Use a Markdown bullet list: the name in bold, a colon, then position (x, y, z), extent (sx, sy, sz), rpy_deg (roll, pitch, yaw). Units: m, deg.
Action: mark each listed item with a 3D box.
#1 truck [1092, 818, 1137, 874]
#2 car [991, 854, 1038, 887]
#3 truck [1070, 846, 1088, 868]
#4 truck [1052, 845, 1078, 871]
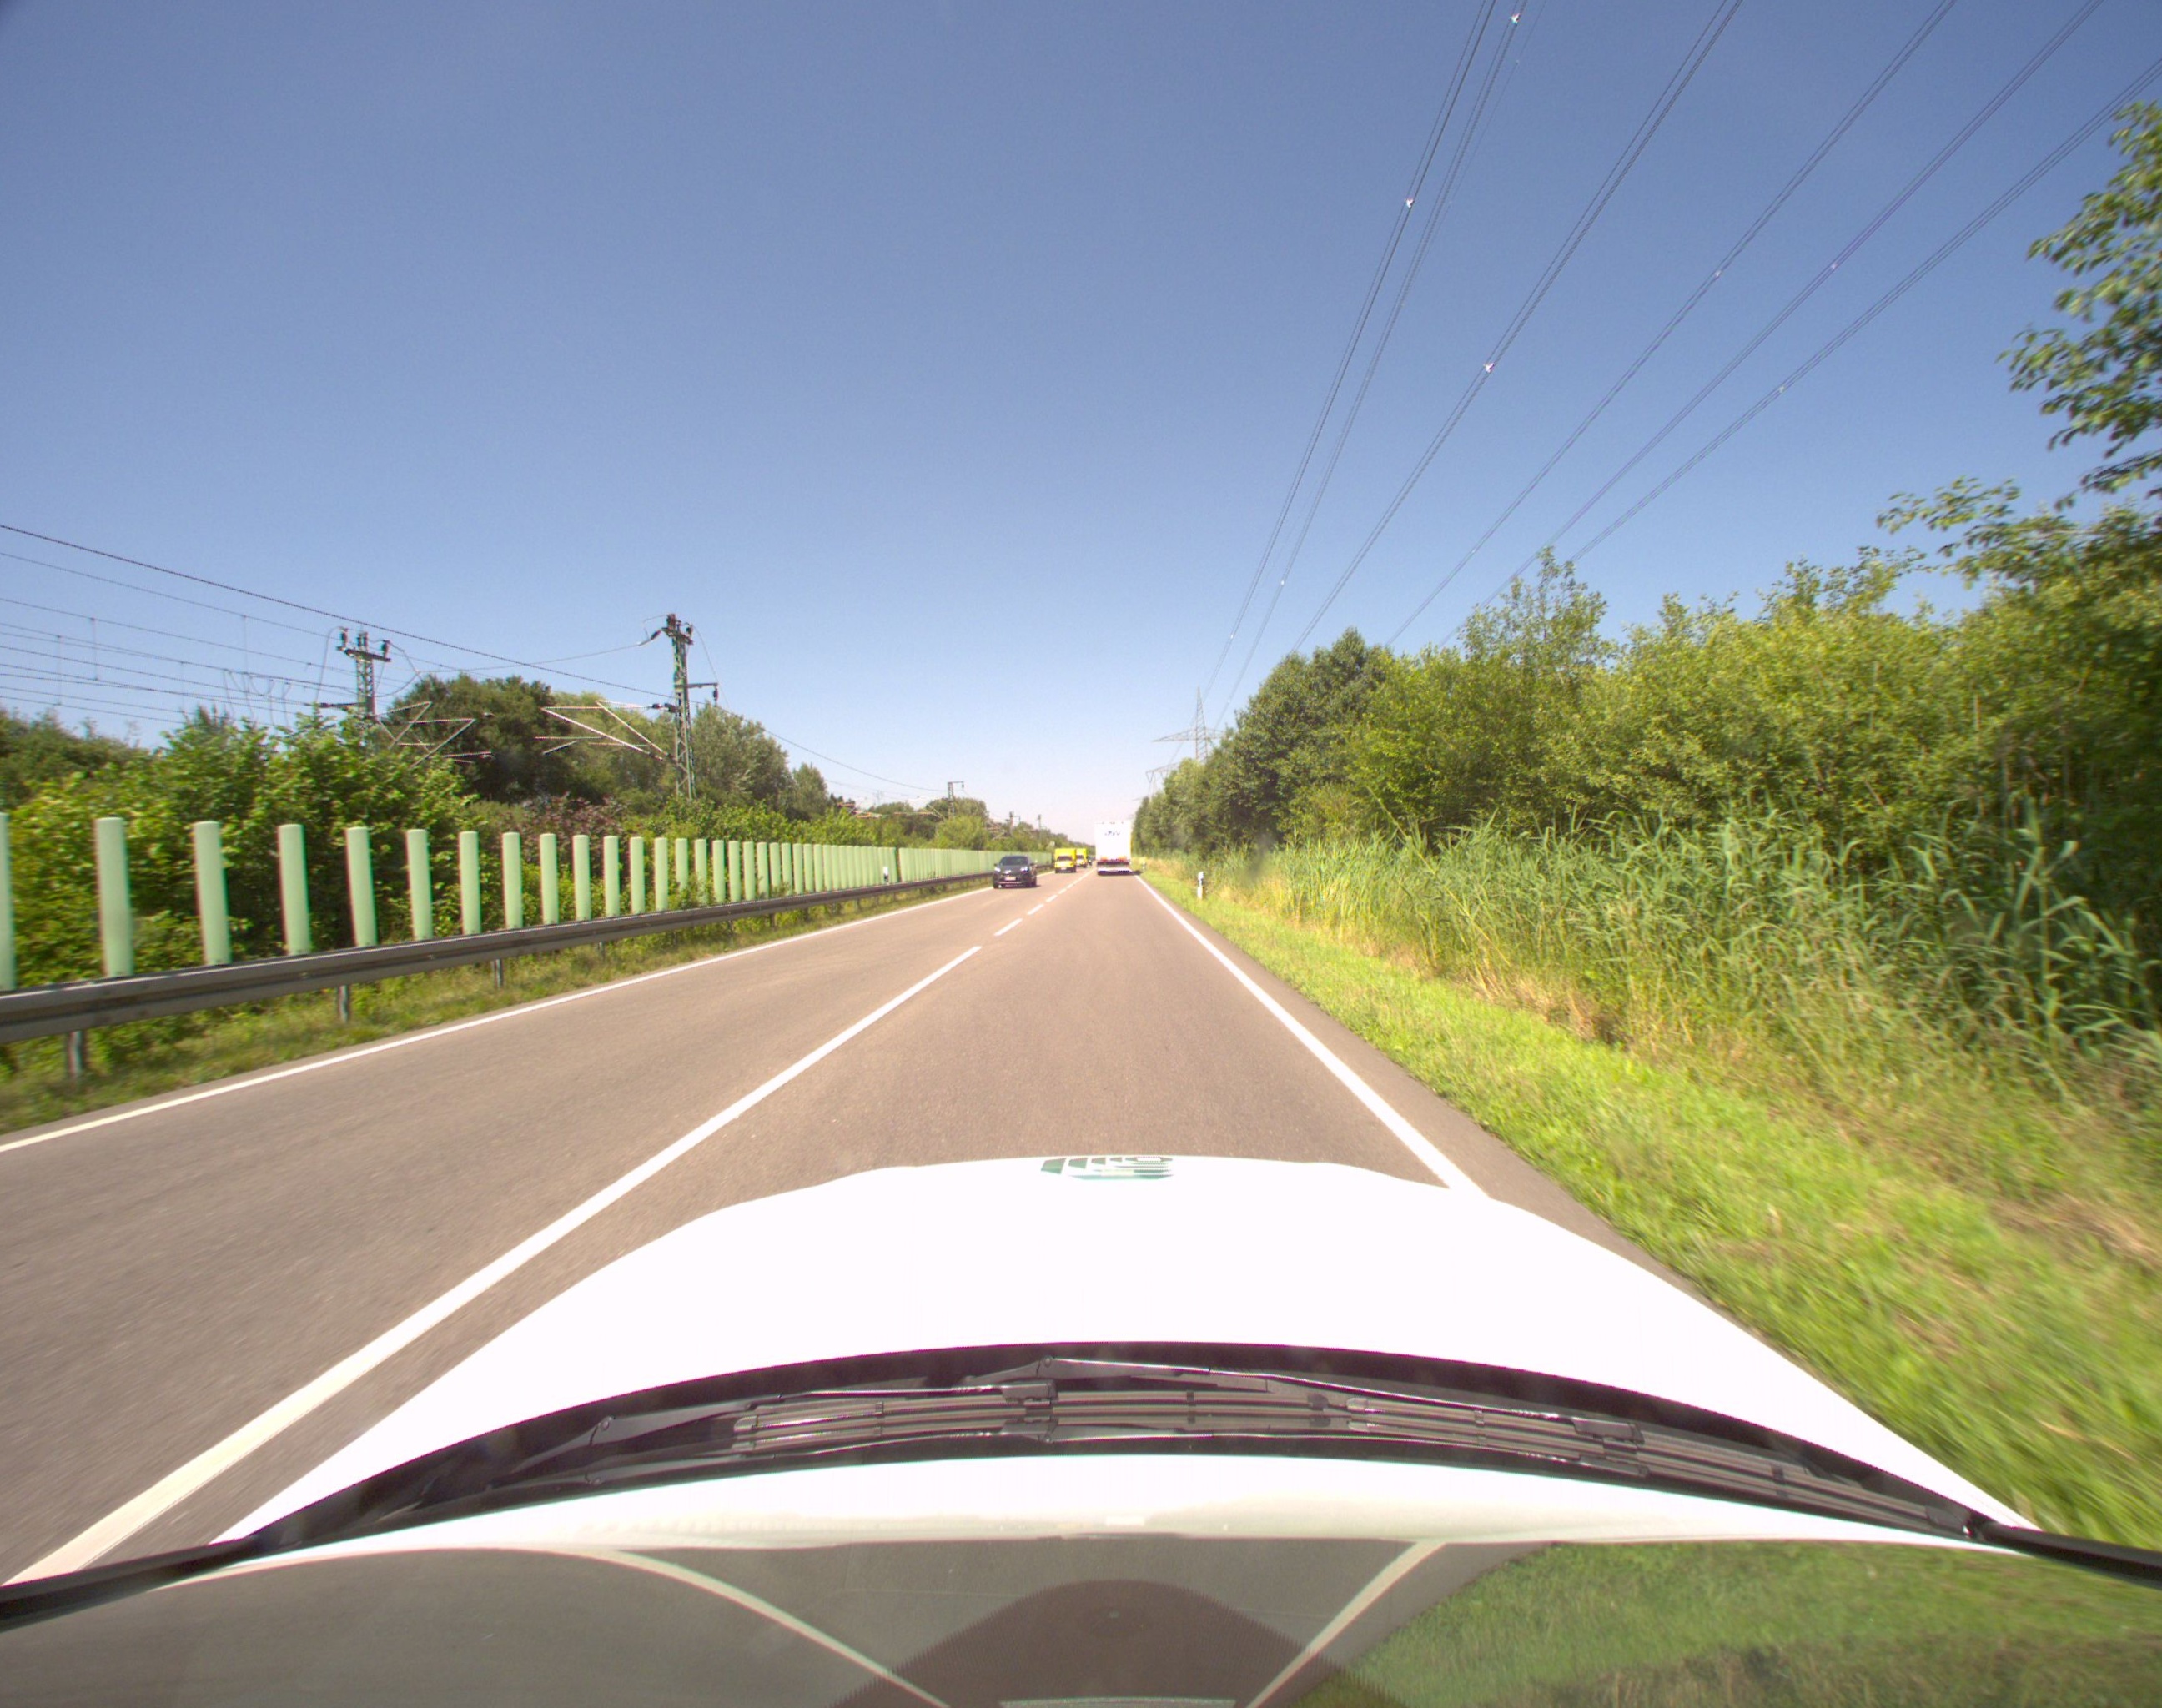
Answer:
- **truck**: position (2.684, -0.588, 65.707), extent (3.180, 4.042, 12.011), rpy_deg (-1, 0, 2)
- **car**: position (-3.335, 0.810, 41.474), extent (1.794, 1.587, 4.373), rpy_deg (-1, 0, 2)
- **truck**: position (-0.257, 0.370, 104.548), extent (2.072, 2.646, 5.707), rpy_deg (-1, 0, 2)
- **truck**: position (-1.438, 0.345, 77.067), extent (1.985, 2.348, 6.016), rpy_deg (-1, 0, 3)
